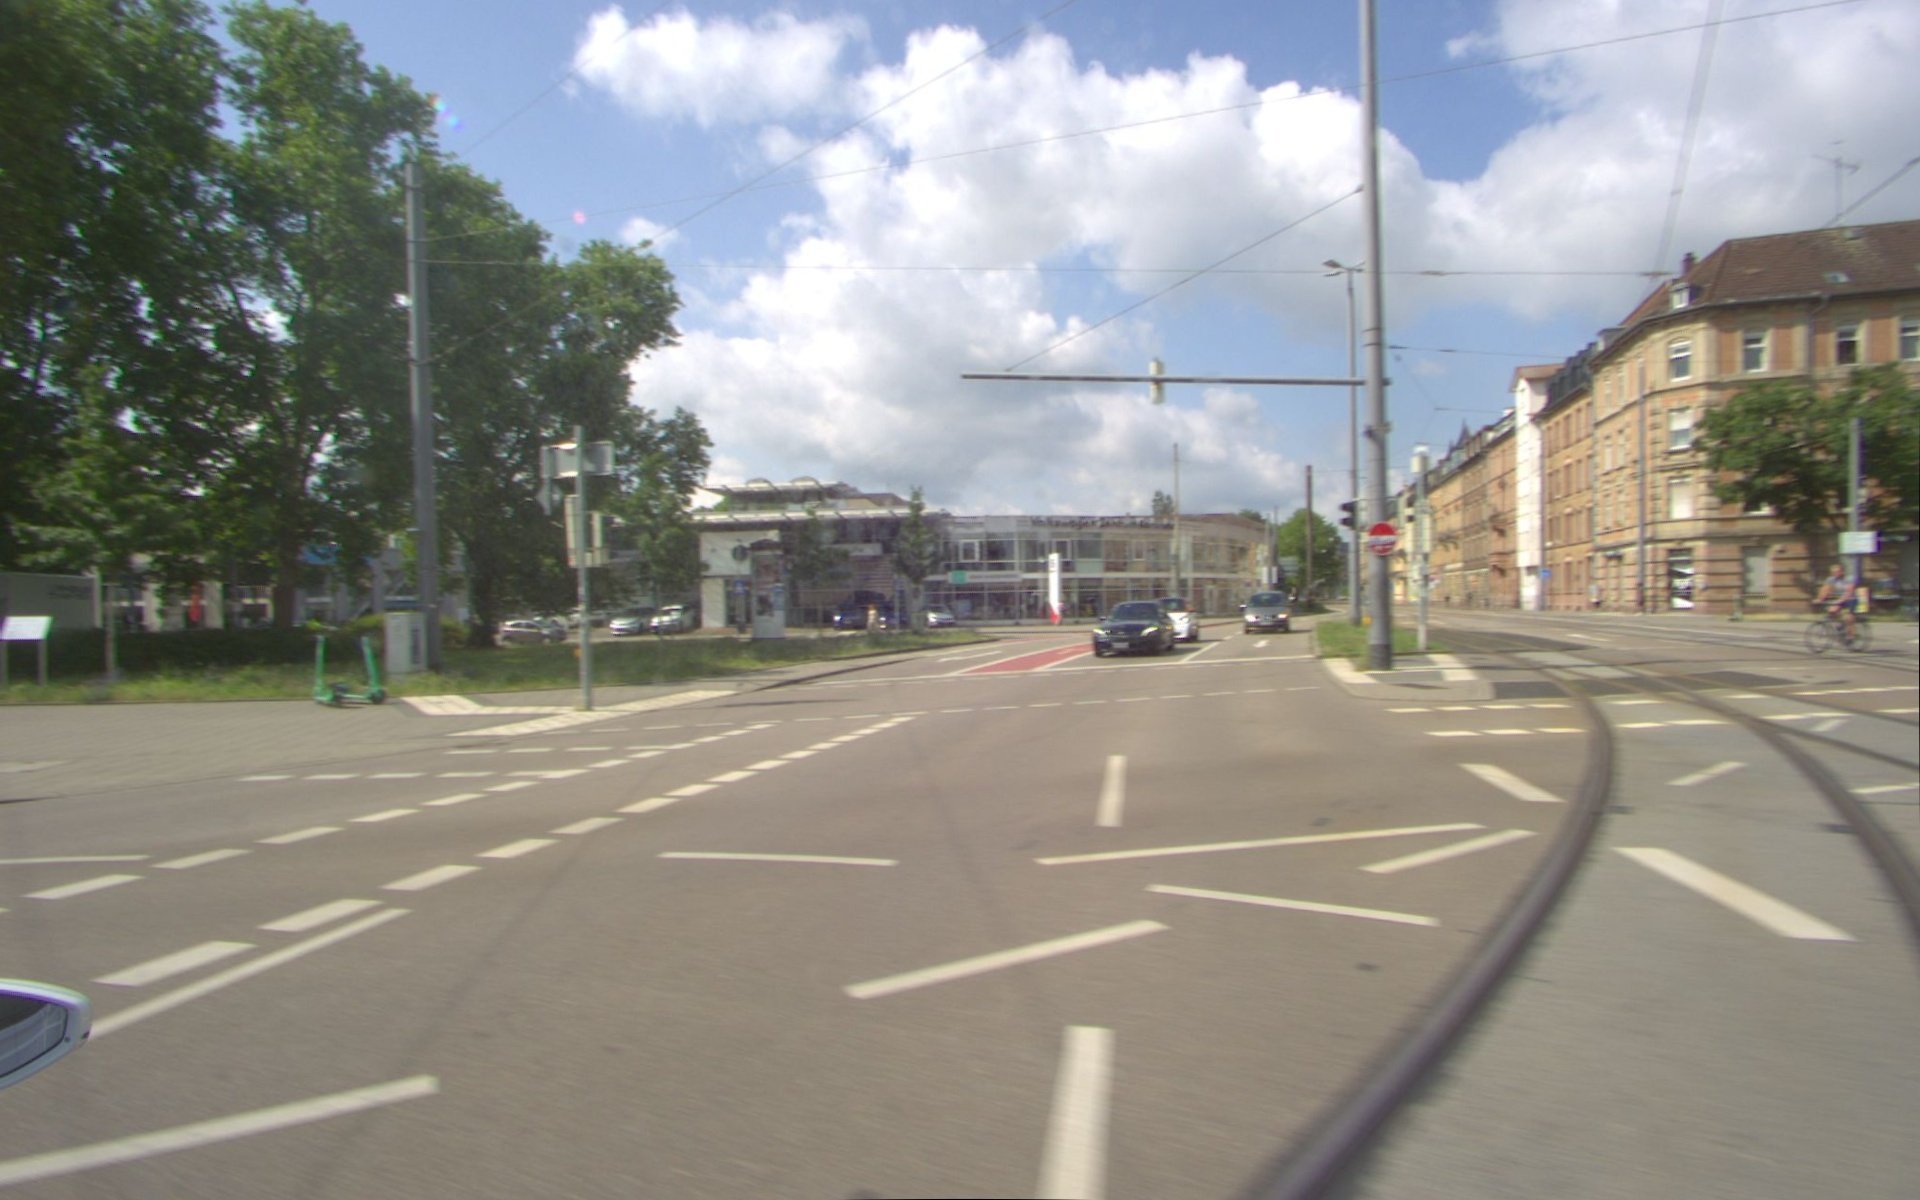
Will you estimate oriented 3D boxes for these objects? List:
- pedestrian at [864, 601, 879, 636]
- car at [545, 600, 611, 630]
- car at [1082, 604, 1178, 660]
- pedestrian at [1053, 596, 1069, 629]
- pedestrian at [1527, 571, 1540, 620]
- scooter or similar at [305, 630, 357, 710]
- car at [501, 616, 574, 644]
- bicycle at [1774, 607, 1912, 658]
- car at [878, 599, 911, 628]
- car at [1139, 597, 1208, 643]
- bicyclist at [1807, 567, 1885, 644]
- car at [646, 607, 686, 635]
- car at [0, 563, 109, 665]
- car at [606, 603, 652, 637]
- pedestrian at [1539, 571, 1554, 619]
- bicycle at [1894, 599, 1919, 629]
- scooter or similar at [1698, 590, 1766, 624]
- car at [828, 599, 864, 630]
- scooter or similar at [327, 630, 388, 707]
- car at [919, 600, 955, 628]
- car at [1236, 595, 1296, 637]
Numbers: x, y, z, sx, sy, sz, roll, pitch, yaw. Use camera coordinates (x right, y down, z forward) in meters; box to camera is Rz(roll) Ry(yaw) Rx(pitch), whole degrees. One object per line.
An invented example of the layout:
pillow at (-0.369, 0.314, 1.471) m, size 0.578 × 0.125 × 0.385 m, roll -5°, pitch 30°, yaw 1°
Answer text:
pedestrian at (-5.147, 1.093, 58.495) m, size 0.794 × 2.040 × 0.808 m, roll 1°, pitch 0°, yaw -3°
car at (-27.479, 1.066, 72.107) m, size 3.923 × 2.040 × 2.000 m, roll 1°, pitch 0°, yaw 7°
car at (4.711, 0.820, 27.284) m, size 1.838 × 1.394 × 3.931 m, roll 0°, pitch 0°, yaw 21°
pedestrian at (6.458, 0.795, 63.975) m, size 0.855 × 2.040 × 0.703 m, roll 0°, pitch 1°, yaw -8°
pedestrian at (38.105, -0.293, 66.538) m, size 0.657 × 3.161 × 0.885 m, roll 1°, pitch 0°, yaw 27°
scooter or similar at (-10.164, 1.113, 16.178) m, size 1.052 × 1.212 × 0.379 m, roll 1°, pitch 0°, yaw 40°
car at (-25.159, 1.767, 59.742) m, size 3.610 × 1.508 × 1.673 m, roll 2°, pitch 0°, yaw 3°
bicycle at (19.941, 0.724, 22.666) m, size 2.156 × 1.084 × 0.877 m, roll 1°, pitch 0°, yaw 13°
car at (-4.119, 0.846, 63.272) m, size 1.961 × 1.748 × 4.000 m, roll 1°, pitch -1°, yaw -3°
car at (7.425, 0.705, 34.677) m, size 1.662 × 1.489 × 3.647 m, roll 1°, pitch -1°, yaw 23°
bicyclist at (20.051, 0.130, 22.672) m, size 1.127 × 1.696 × 0.614 m, roll 1°, pitch 0°, yaw 15°
car at (-19.173, 1.333, 65.417) m, size 1.757 × 1.704 × 3.998 m, roll 0°, pitch 0°, yaw -6°
car at (-30.447, 0.454, 31.861) m, size 1.963 × 3.083 × 7.240 m, roll -1°, pitch 0°, yaw -13°
car at (-21.477, 1.301, 65.101) m, size 1.962 × 2.040 × 3.999 m, roll 2°, pitch -1°, yaw -6°
pedestrian at (38.772, -0.313, 66.161) m, size 0.715 × 3.116 × 0.885 m, roll 1°, pitch 0°, yaw 27°
bicycle at (38.882, 0.552, 40.406) m, size 0.748 × 1.181 × 2.679 m, roll 0°, pitch 0°, yaw 19°
scooter or similar at (32.978, 0.311, 42.860) m, size 1.158 × 1.404 × 2.803 m, roll 1°, pitch -1°, yaw 11°
car at (-7.220, 0.911, 63.937) m, size 1.961 × 1.862 × 4.000 m, roll -1°, pitch -1°, yaw -2°
scooter or similar at (-10.055, 1.127, 16.713) m, size 1.048 × 1.212 × 0.380 m, roll 1°, pitch 0°, yaw 29°
car at (-1.518, 0.903, 65.004) m, size 1.898 × 1.705 × 3.999 m, roll 1°, pitch -1°, yaw -7°
car at (12.503, 0.624, 40.776) m, size 1.966 × 1.595 × 3.726 m, roll -1°, pitch 0°, yaw 23°
